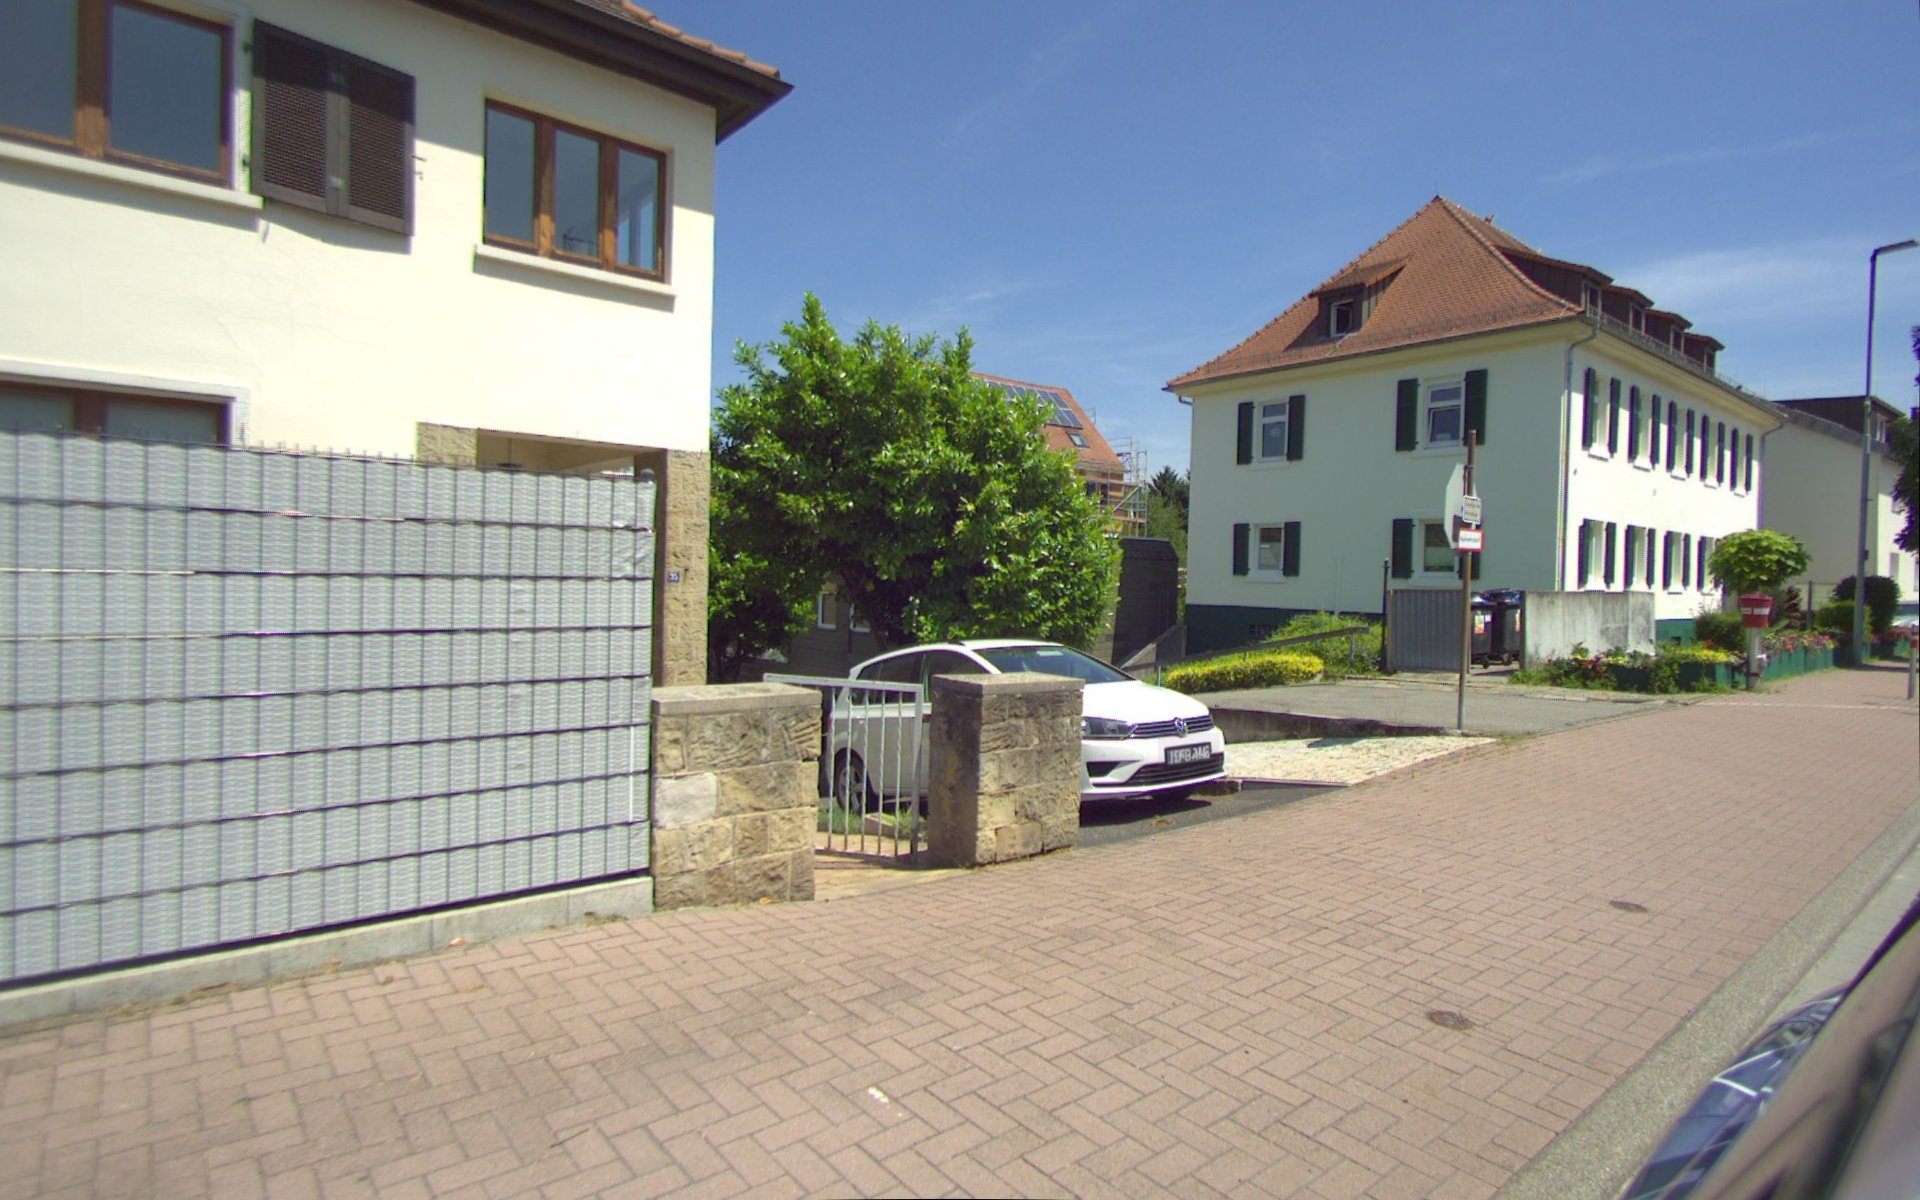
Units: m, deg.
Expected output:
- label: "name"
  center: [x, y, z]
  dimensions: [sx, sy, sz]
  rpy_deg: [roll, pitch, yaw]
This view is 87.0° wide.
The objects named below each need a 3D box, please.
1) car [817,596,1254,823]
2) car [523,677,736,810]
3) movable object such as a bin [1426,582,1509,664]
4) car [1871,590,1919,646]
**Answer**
- label: "car"
  center: [0.419, 1.040, 9.075]
  dimensions: [1.607, 1.572, 3.965]
  rpy_deg: [0, -9, -37]
- label: "car"
  center: [-5.459, 2.243, 16.414]
  dimensions: [1.840, 1.752, 3.991]
  rpy_deg: [0, -5, -41]
- label: "movable object such as a bin"
  center: [9.278, 0.416, 18.503]
  dimensions: [0.884, 1.449, 1.052]
  rpy_deg: [0, -1, -38]
- label: "car"
  center: [28.065, 0.501, 29.514]
  dimensions: [4.355, 1.549, 1.509]
  rpy_deg: [0, 0, -38]
